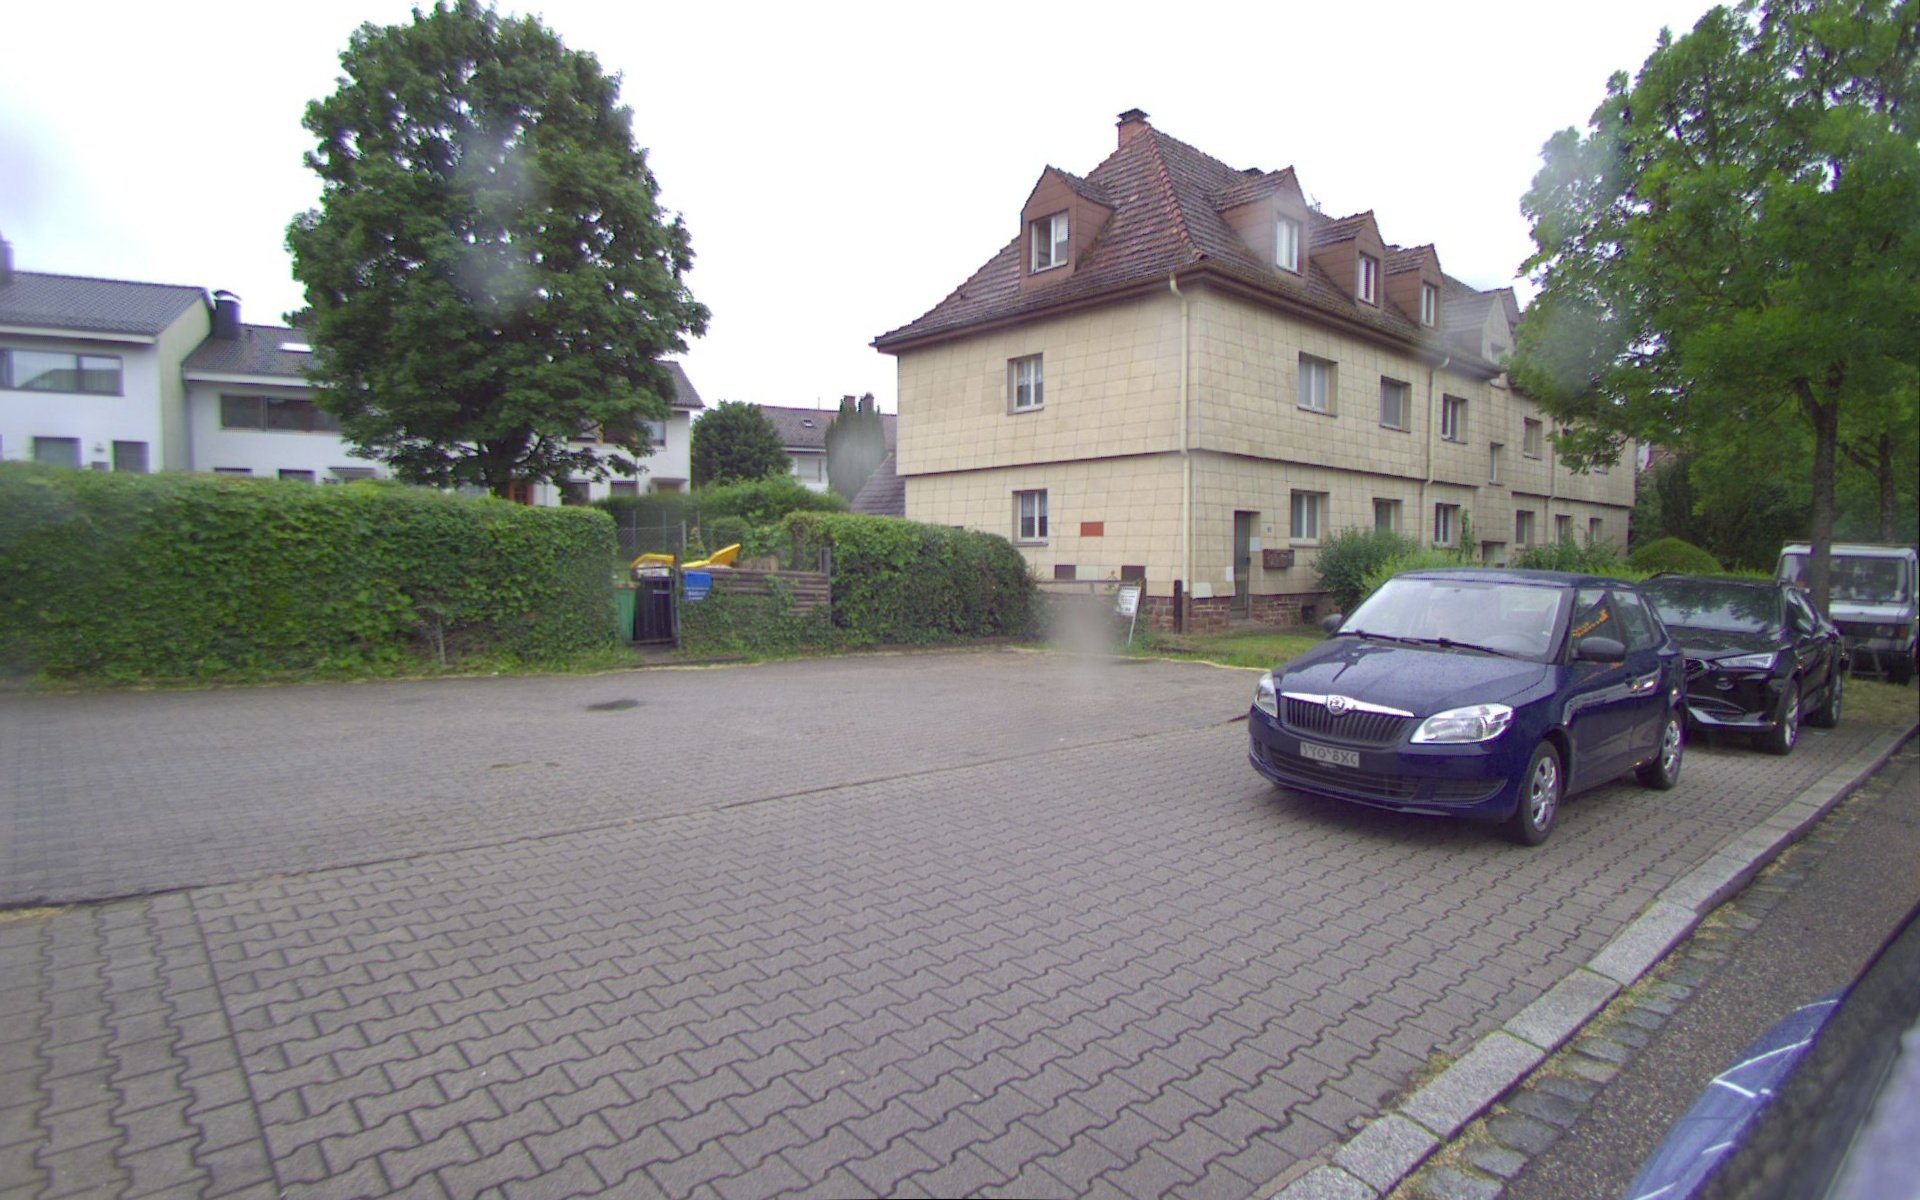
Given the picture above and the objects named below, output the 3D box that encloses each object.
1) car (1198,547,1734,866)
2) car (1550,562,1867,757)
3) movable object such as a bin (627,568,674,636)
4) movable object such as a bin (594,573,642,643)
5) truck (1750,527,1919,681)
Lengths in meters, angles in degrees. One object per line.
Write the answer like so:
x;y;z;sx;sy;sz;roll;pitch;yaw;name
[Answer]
3.481;0.435;6.642;3.930;1.441;1.719;-1;4;-41;car
7.467;0.418;9.961;3.932;1.481;1.719;-1;4;-42;car
-4.432;0.026;14.494;0.441;0.954;0.539;-1;0;-45;movable object such as a bin
-4.770;0.100;14.125;0.441;0.954;0.539;-1;0;-45;movable object such as a bin
15.471;0.010;17.230;5.653;2.224;1.998;0;2;-40;truck
